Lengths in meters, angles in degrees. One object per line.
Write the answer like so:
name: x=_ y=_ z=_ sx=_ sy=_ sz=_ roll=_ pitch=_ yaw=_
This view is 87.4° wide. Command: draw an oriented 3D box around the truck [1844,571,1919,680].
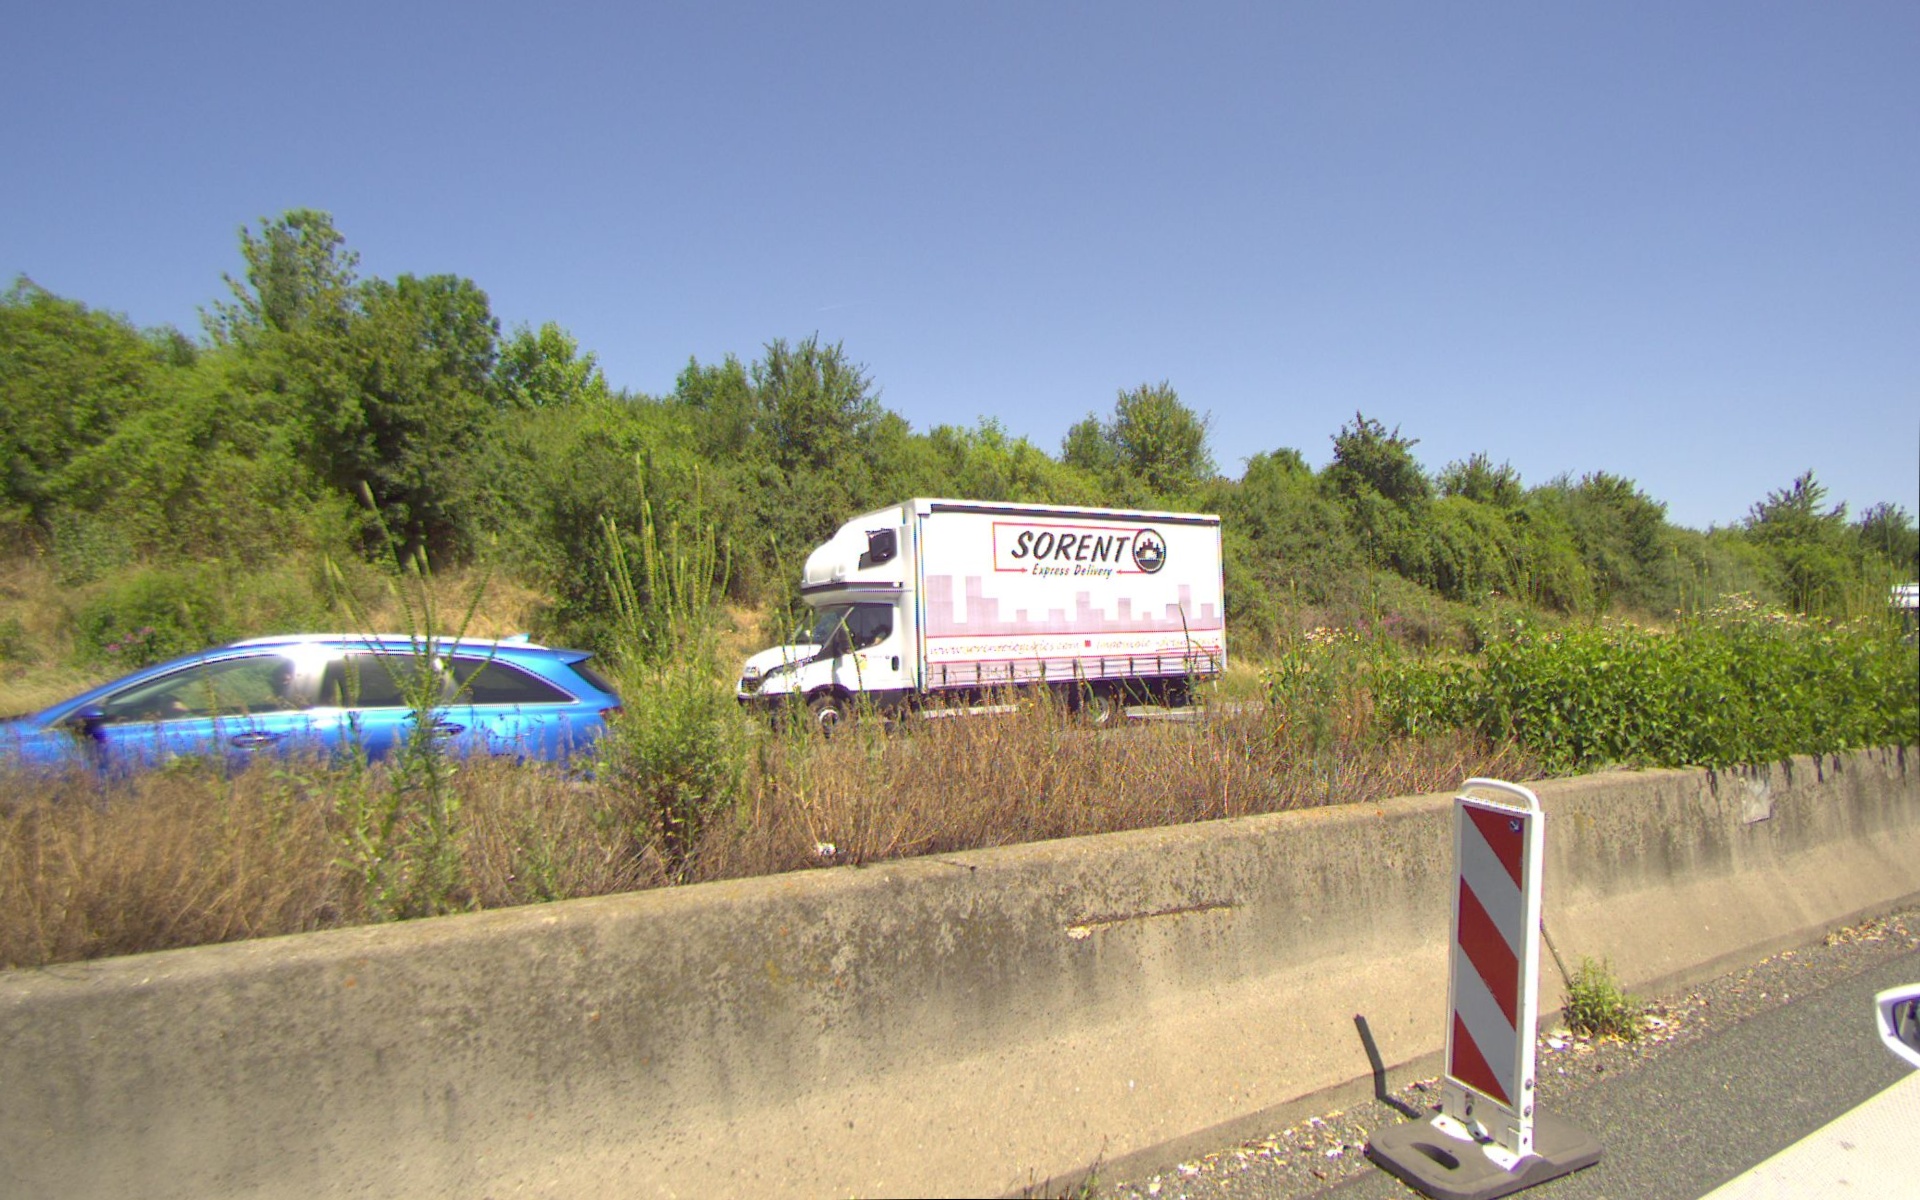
truck: x=39.171 y=1.092 z=40.873 sx=5.737 sy=4.220 sz=3.003 roll=1 pitch=-4 yaw=-30

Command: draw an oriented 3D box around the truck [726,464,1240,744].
truck: x=0.659 y=0.239 z=17.618 sx=8.926 sy=3.938 sz=2.750 roll=2 pitch=-4 yaw=-31

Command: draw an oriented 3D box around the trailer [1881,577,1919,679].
trailer: x=45.886 y=1.287 z=44.828 sx=13.856 sy=4.220 sz=3.003 roll=2 pitch=-4 yaw=-31

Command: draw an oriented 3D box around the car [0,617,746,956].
car: x=-3.505 y=1.024 z=6.647 sx=3.826 sy=1.675 sz=1.545 roll=2 pitch=-5 yaw=-31
